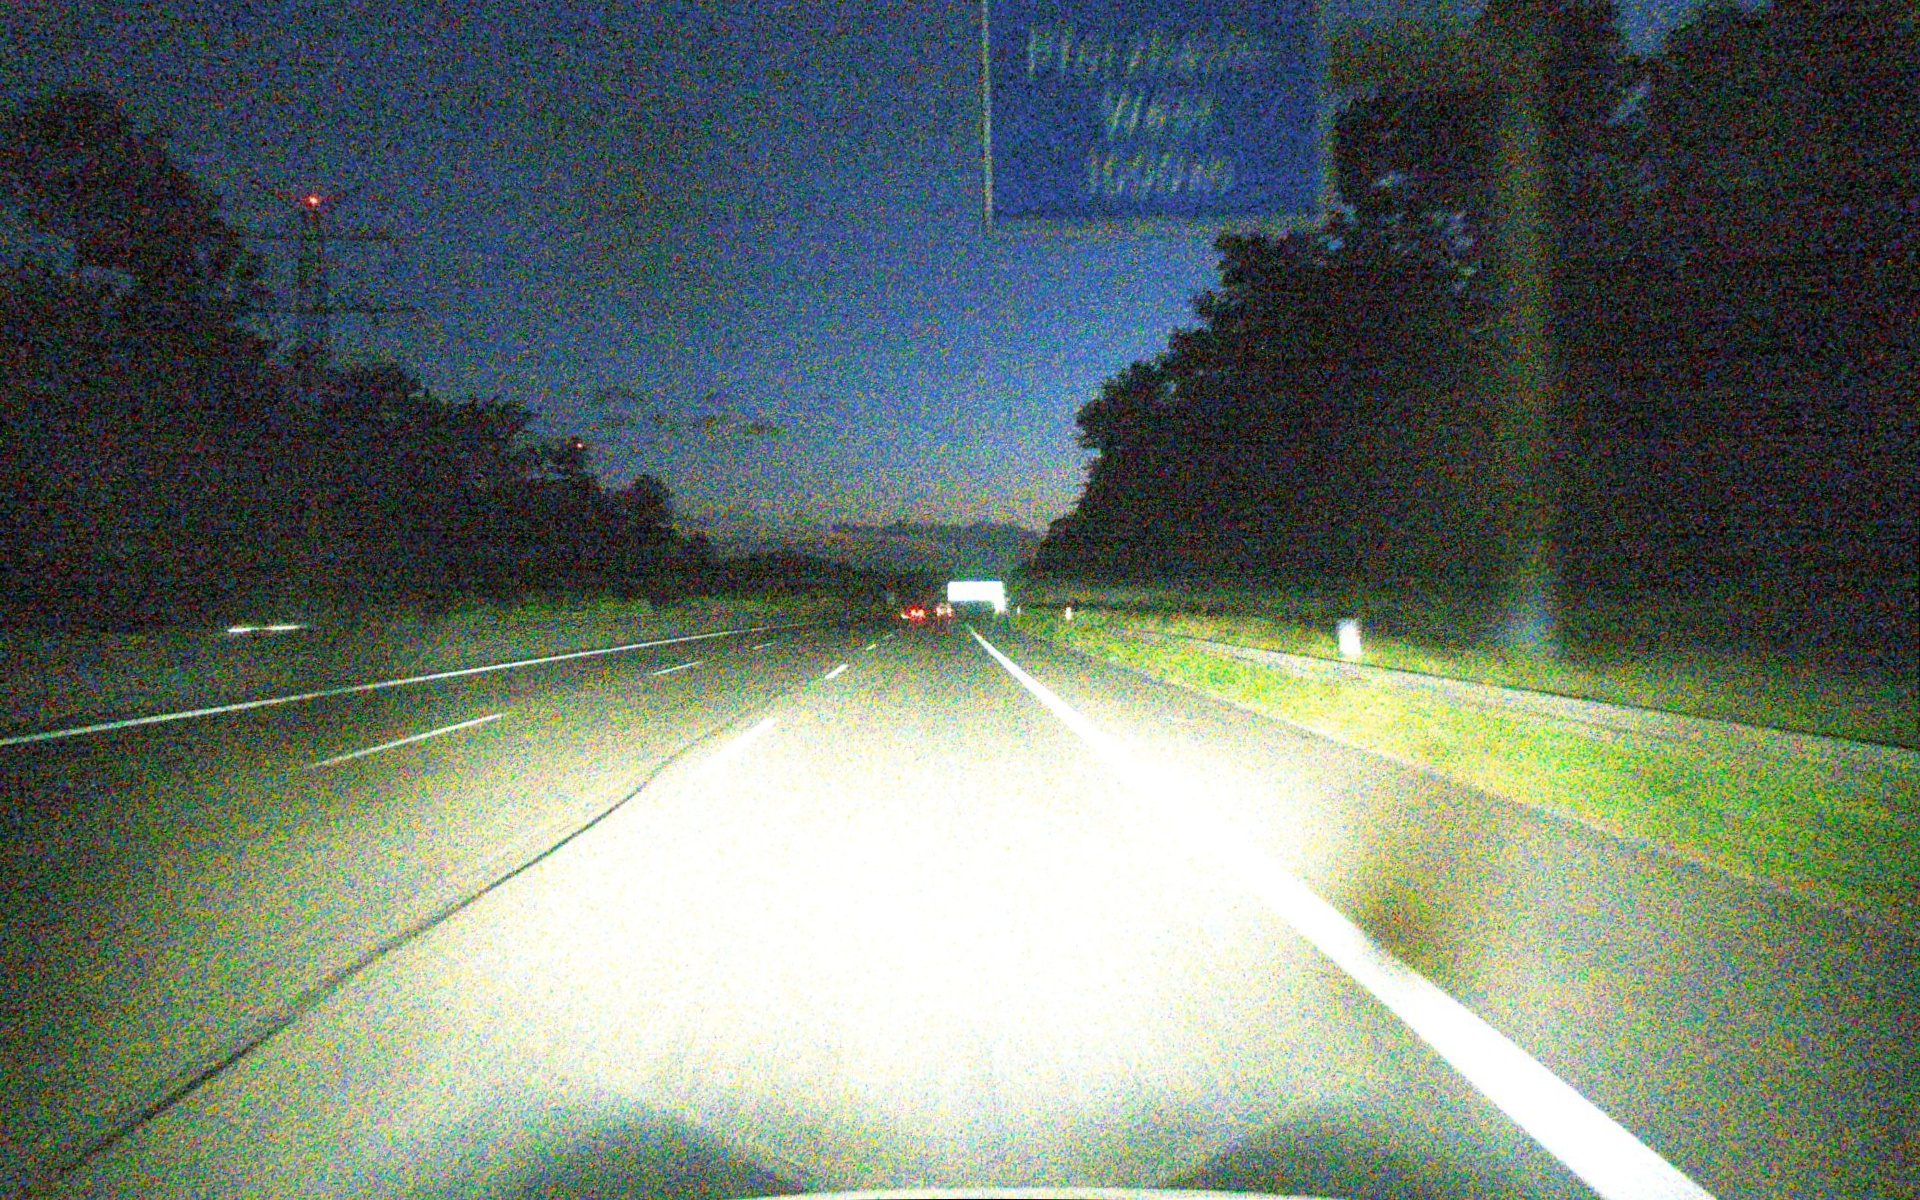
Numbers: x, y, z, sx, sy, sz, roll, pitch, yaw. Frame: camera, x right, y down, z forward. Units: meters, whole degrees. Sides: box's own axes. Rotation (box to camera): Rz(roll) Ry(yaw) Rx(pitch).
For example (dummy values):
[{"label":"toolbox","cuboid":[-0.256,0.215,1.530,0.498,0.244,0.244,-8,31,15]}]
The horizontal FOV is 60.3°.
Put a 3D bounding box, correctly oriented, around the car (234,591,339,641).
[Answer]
[{"label":"car","cuboid":[-23.264,0.532,57.307,1.860,1.675,4.701,0,0,-2]}]
